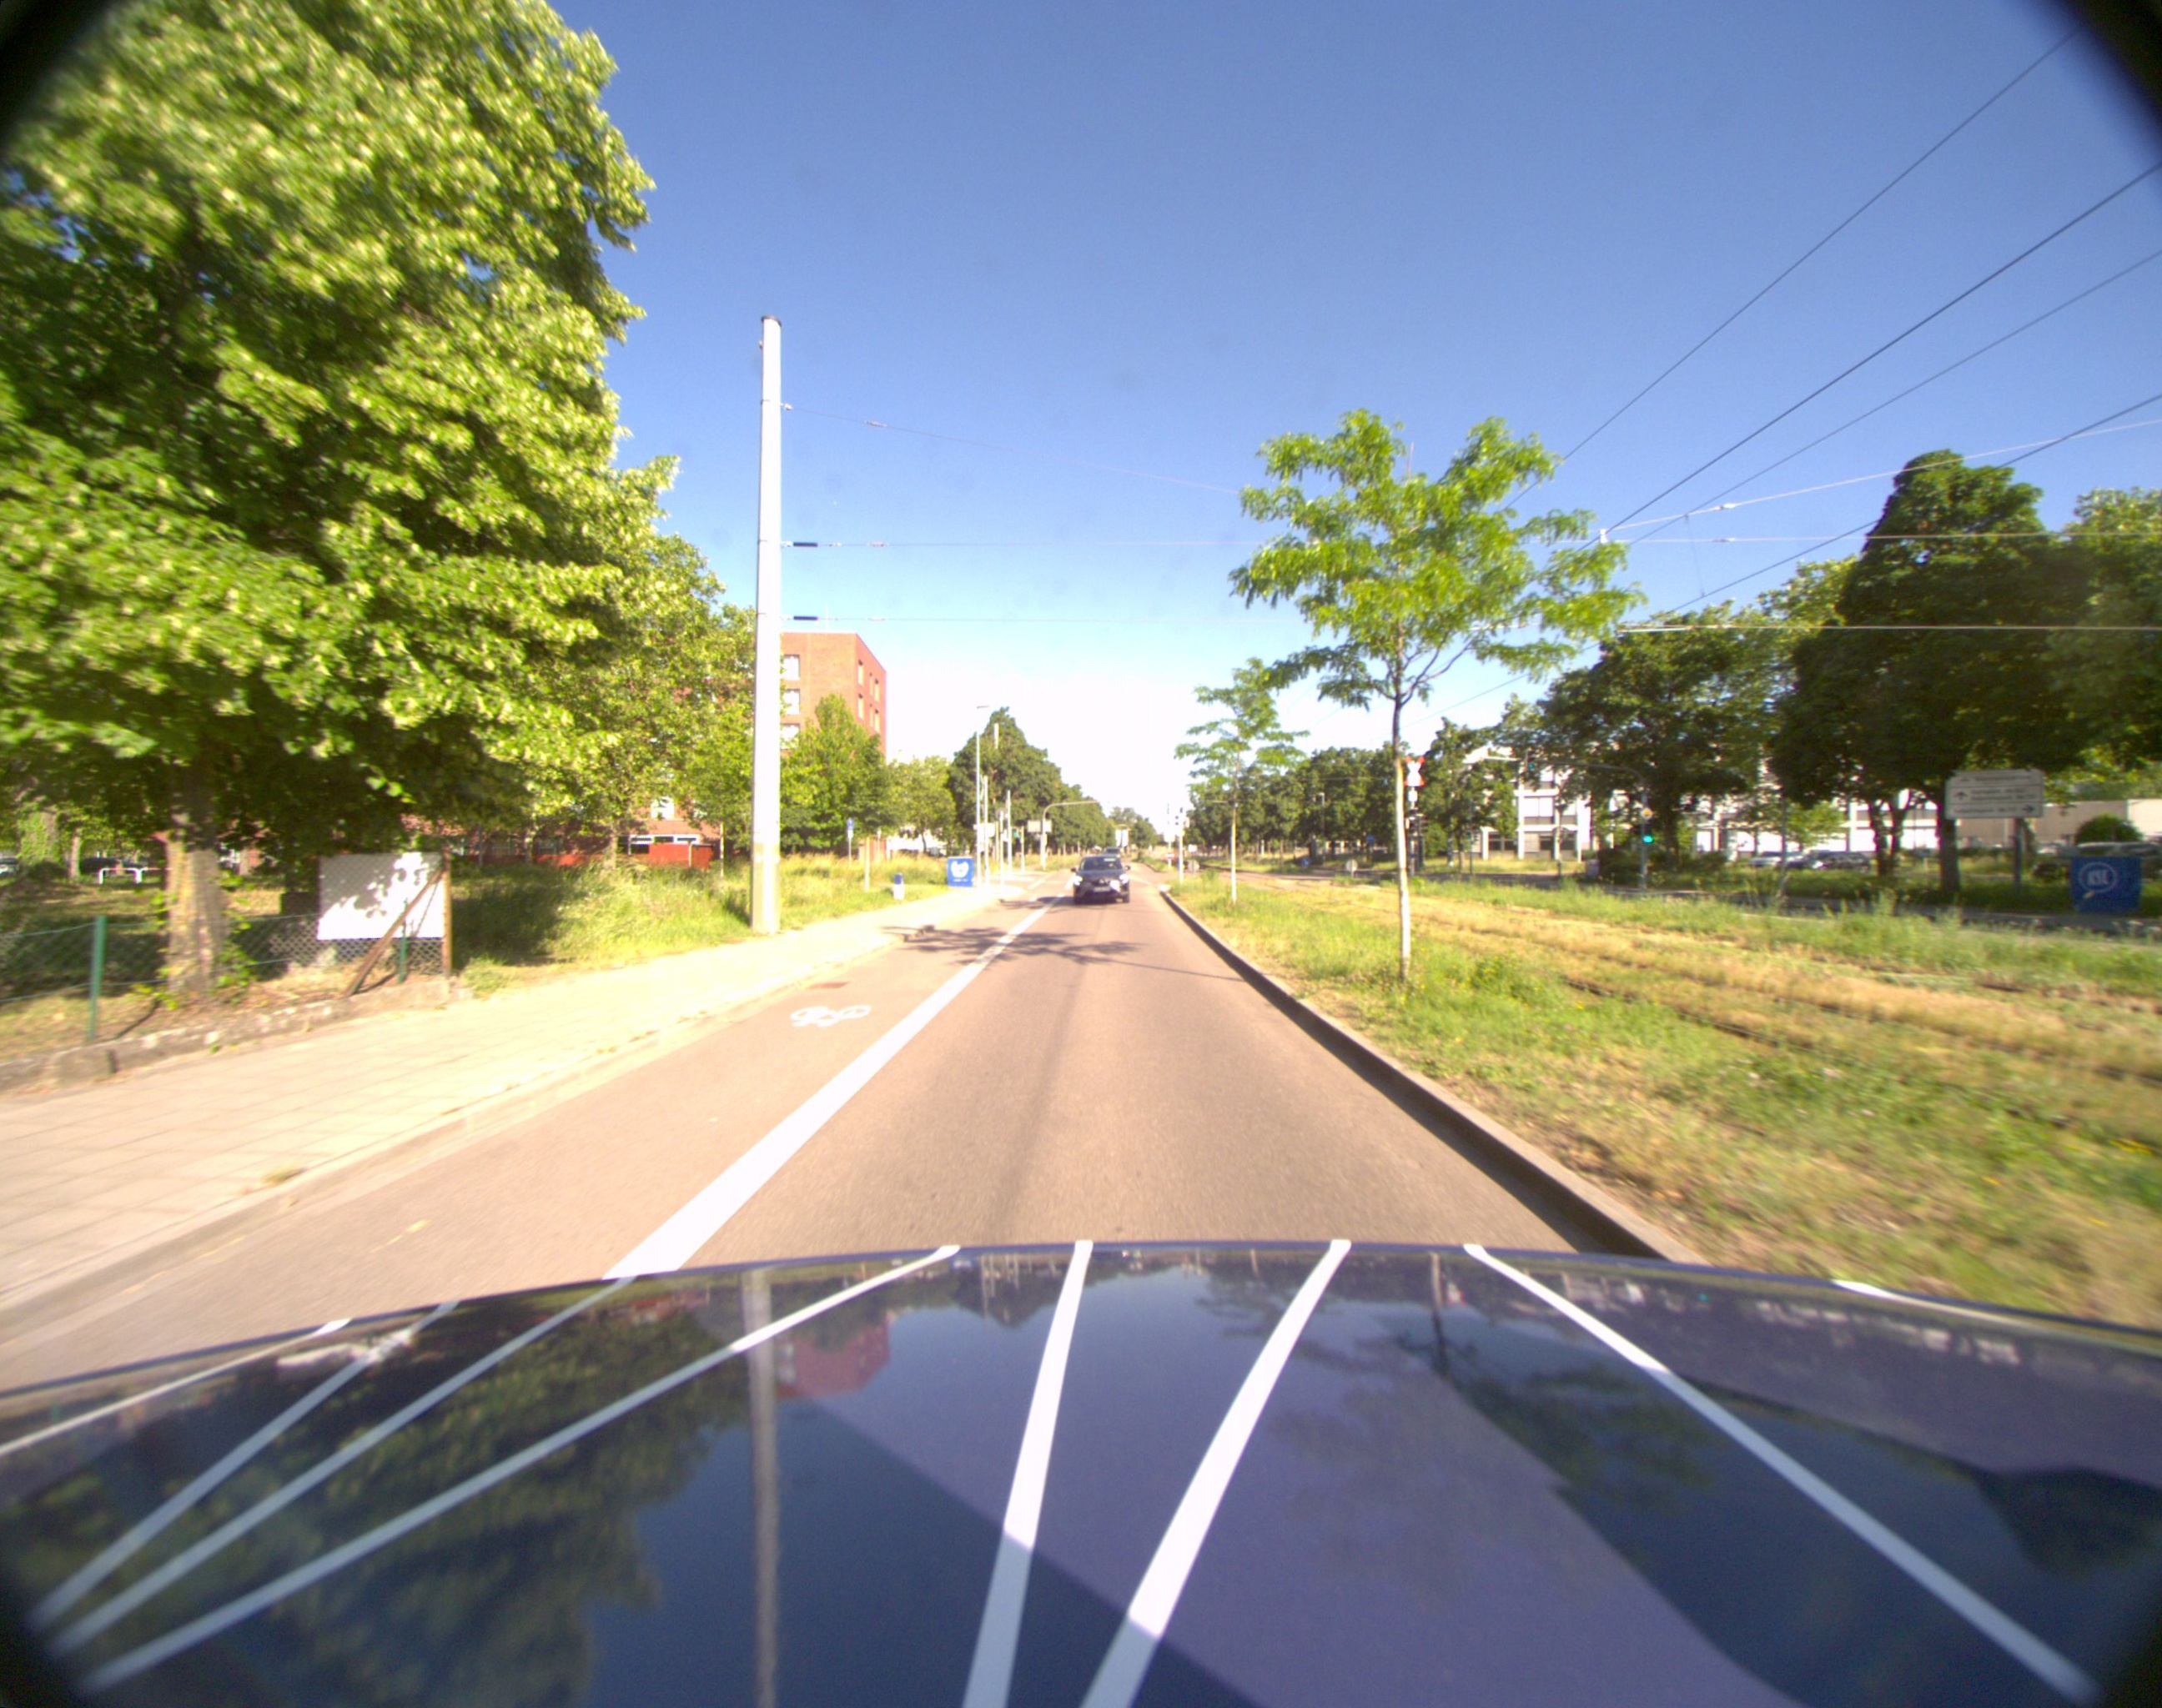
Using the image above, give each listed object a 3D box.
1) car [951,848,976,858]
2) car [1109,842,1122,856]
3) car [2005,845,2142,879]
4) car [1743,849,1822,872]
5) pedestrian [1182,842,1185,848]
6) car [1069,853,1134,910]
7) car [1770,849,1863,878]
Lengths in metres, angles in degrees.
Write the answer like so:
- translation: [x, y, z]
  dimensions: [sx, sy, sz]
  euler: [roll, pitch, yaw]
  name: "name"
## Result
- translation: [-25.042, -0.191, 162.109]
  dimensions: [4.759, 1.938, 1.975]
  euler: [1, 0, 5]
  name: "car"
- translation: [4.644, -0.676, 102.433]
  dimensions: [1.554, 1.765, 3.458]
  euler: [1, 0, 6]
  name: "car"
- translation: [41.562, 0.332, 31.846]
  dimensions: [4.001, 1.373, 1.871]
  euler: [0, 0, -10]
  name: "car"
- translation: [51.972, 0.466, 56.329]
  dimensions: [4.431, 1.630, 1.988]
  euler: [0, 0, -8]
  name: "car"
- translation: [30.809, -2.573, 227.746]
  dimensions: [0.785, 1.741, 0.782]
  euler: [0, 1, 6]
  name: "pedestrian"
- translation: [0.771, 0.833, 24.941]
  dimensions: [1.749, 1.585, 4.248]
  euler: [-2, 1, 6]
  name: "car"
- translation: [42.703, 0.536, 44.131]
  dimensions: [4.000, 1.658, 1.829]
  euler: [0, 0, -9]
  name: "car"
